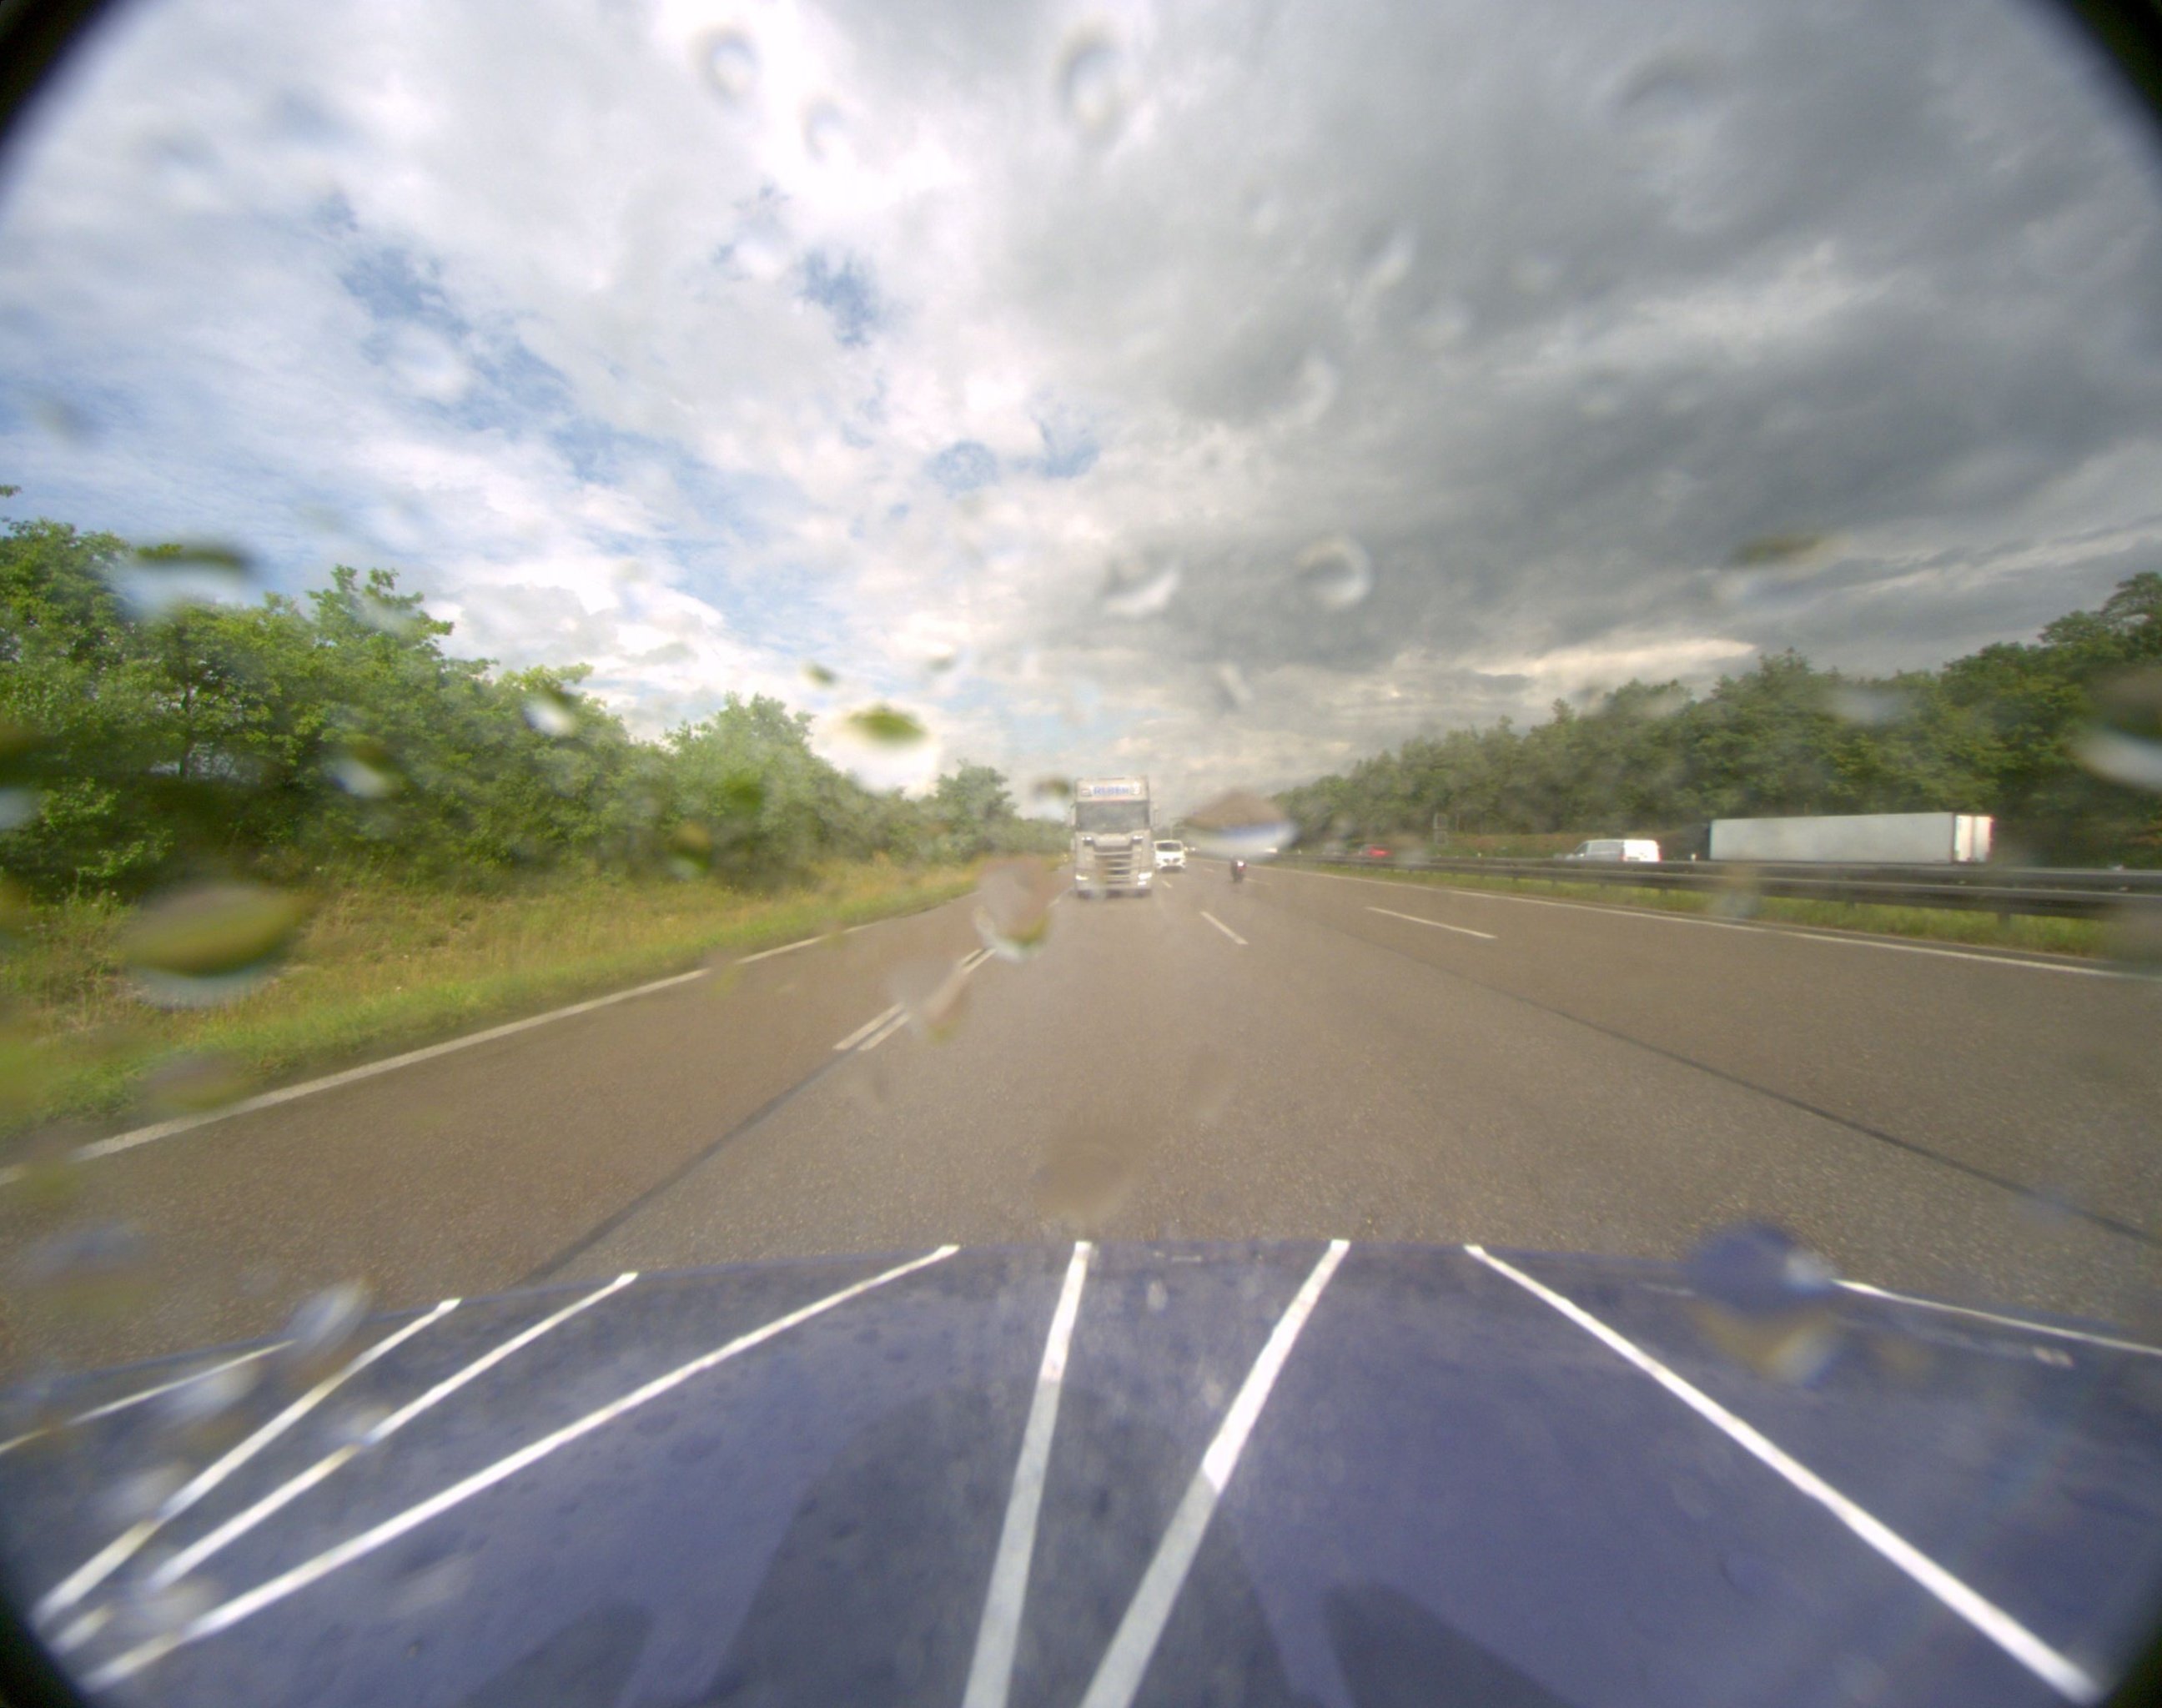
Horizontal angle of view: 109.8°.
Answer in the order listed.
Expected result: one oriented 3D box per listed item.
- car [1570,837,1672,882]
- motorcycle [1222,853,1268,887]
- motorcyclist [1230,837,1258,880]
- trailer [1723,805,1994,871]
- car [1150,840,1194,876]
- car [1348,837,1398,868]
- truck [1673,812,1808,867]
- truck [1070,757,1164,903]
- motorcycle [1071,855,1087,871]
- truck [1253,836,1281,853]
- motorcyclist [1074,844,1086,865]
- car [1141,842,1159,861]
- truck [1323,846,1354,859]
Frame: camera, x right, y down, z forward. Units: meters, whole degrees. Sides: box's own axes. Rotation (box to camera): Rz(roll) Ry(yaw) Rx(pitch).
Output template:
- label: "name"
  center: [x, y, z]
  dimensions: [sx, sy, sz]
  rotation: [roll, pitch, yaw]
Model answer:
- label: "car"
  center: [26.447, 0.212, 37.448]
  dimensions: [1.834, 2.033, 4.779]
  rotation: [-2, 1, 3]
- label: "motorcycle"
  center: [6.687, 0.620, 31.159]
  dimensions: [1.187, 1.219, 3.194]
  rotation: [-2, 1, 1]
- label: "motorcyclist"
  center: [6.662, 0.187, 31.080]
  dimensions: [0.883, 1.696, 1.001]
  rotation: [-2, 1, 1]
- label: "trailer"
  center: [49.244, -0.983, 49.155]
  dimensions: [3.215, 3.717, 12.556]
  rotation: [-1, 1, -10]
- label: "car"
  center: [5.629, 0.210, 47.680]
  dimensions: [2.349, 2.033, 5.143]
  rotation: [-2, 1, 3]
- label: "car"
  center: [20.133, -0.139, 52.530]
  dimensions: [1.834, 2.033, 4.779]
  rotation: [-2, 1, 3]
- label: "truck"
  center: [48.024, -1.072, 55.623]
  dimensions: [3.218, 3.684, 6.909]
  rotation: [-2, 1, -11]
- label: "truck"
  center: [1.105, -0.773, 25.973]
  dimensions: [2.650, 4.250, 6.883]
  rotation: [-2, 1, 1]
- label: "motorcycle"
  center: [-0.164, 0.709, 61.568]
  dimensions: [1.187, 1.142, 3.194]
  rotation: [-2, 1, 1]
- label: "truck"
  center: [22.143, -1.150, 90.671]
  dimensions: [2.262, 1.884, 5.446]
  rotation: [-2, 1, 3]
- label: "motorcyclist"
  center: [-0.092, 0.033, 61.424]
  dimensions: [0.883, 1.696, 1.001]
  rotation: [-2, 1, 1]
- label: "car"
  center: [7.885, -0.365, 87.351]
  dimensions: [1.834, 2.033, 4.779]
  rotation: [-2, 1, 3]
- label: "truck"
  center: [25.750, -0.134, 76.080]
  dimensions: [1.892, 1.187, 4.000]
  rotation: [-2, 1, 3]
